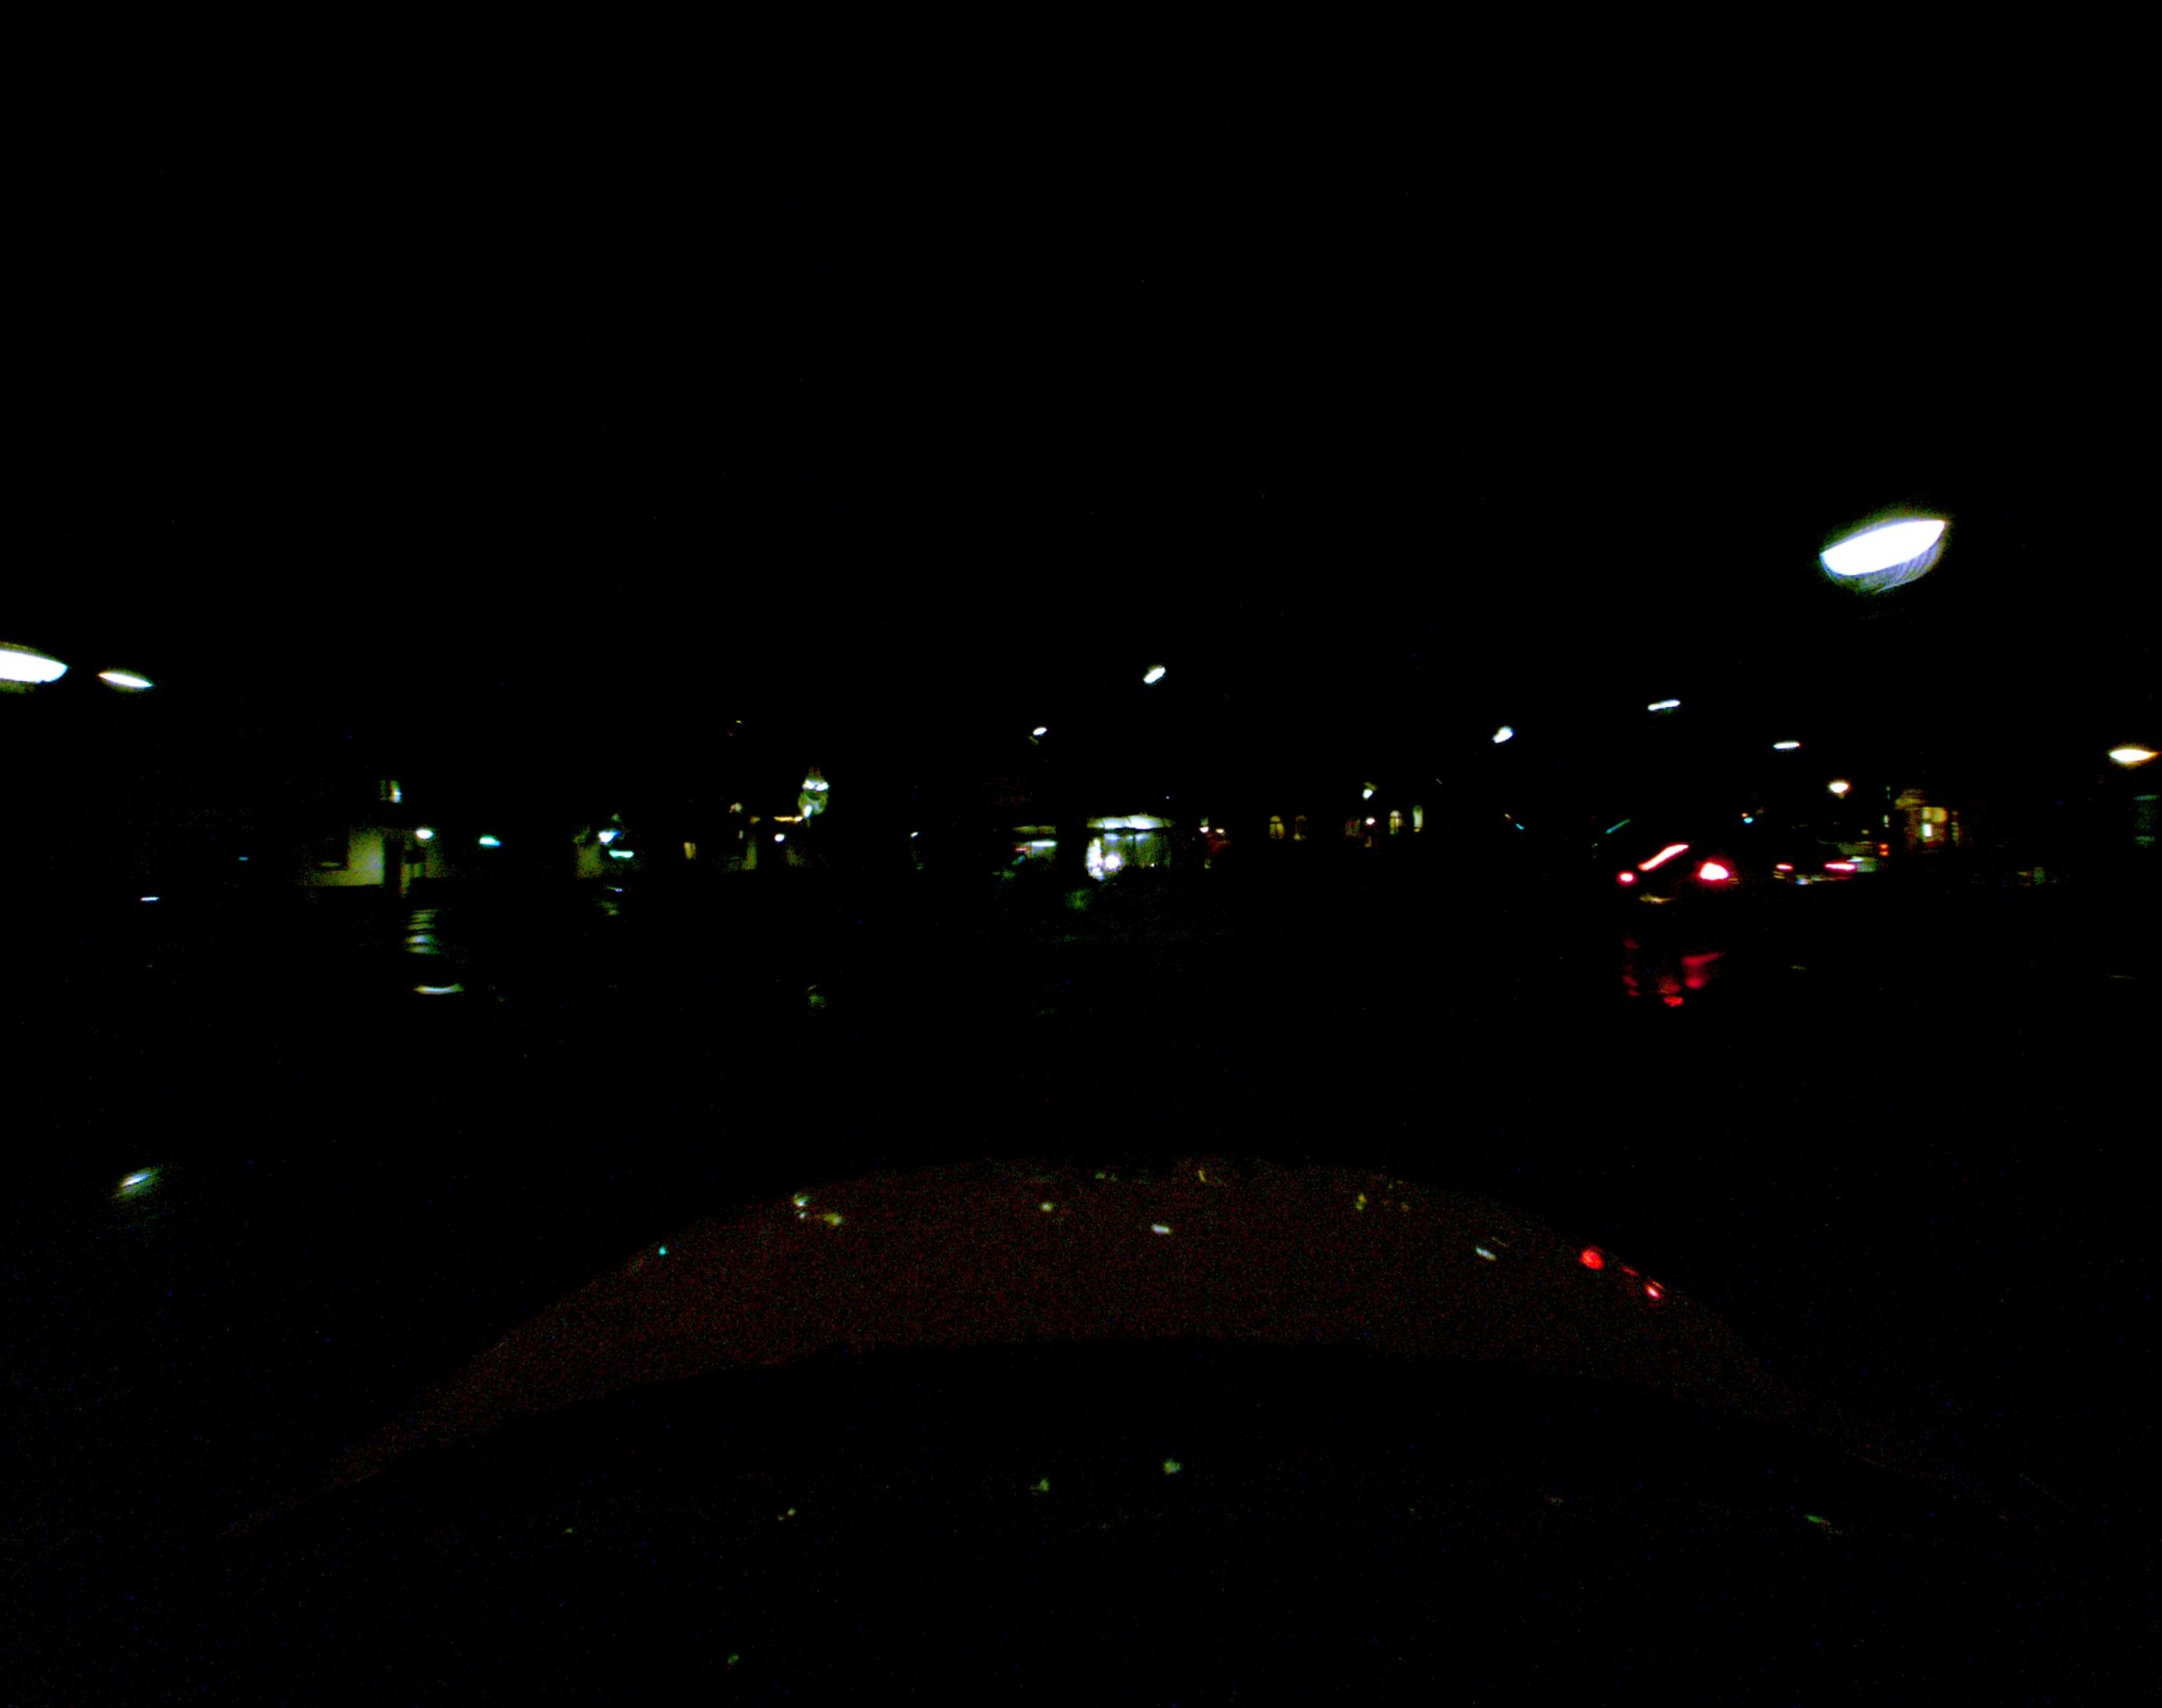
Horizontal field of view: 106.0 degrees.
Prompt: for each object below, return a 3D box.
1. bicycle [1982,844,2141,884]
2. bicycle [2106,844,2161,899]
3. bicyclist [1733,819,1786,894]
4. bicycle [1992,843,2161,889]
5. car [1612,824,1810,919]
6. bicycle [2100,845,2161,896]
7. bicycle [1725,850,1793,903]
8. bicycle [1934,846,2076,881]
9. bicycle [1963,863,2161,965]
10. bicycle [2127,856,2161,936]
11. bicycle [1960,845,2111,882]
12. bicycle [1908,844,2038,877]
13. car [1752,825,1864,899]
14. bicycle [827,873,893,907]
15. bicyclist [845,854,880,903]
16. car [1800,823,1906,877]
[{"bbox_3d":[26.896,0.277,22.415,2.742,1.026,0.729,-1,0,24],"label":"bicycle"},{"bbox_3d":[21.264,0.322,15.121,0.728,1.026,2.744,-1,0,-38],"label":"bicycle"},{"bbox_3d":[15.471,0.057,18.569,0.711,1.675,0.791,1,-1,-36],"label":"bicyclist"},{"bbox_3d":[25.900,0.303,21.267,0.728,1.129,2.744,-1,0,-38],"label":"bicycle"},{"bbox_3d":[11.919,0.323,15.397,3.470,1.613,1.721,1,-1,-28],"label":"car"},{"bbox_3d":[22.864,0.327,16.498,0.728,1.026,2.744,-1,0,-38],"label":"bicycle"},{"bbox_3d":[15.467,0.505,18.568,1.723,1.149,0.768,1,-1,-36],"label":"bicycle"},{"bbox_3d":[28.036,0.299,24.784,2.741,1.026,0.729,-1,0,29],"label":"bicycle"},{"bbox_3d":[11.219,0.643,9.194,0.452,1.059,1.646,-2,0,-33],"label":"bicycle"},{"bbox_3d":[14.848,0.548,10.484,0.452,1.059,1.646,-2,0,-33],"label":"bicycle"},{"bbox_3d":[27.567,0.289,23.601,2.741,1.026,0.729,-1,0,29],"label":"bicycle"},{"bbox_3d":[28.843,0.223,26.396,2.741,1.026,0.729,-1,0,29],"label":"bicycle"},{"bbox_3d":[18.870,0.210,21.074,1.975,1.728,4.023,0,-1,45],"label":"car"},{"bbox_3d":[-6.341,1.024,23.408,1.786,0.931,0.496,1,-1,-23],"label":"bicycle"},{"bbox_3d":[-6.291,0.690,23.440,0.895,1.380,0.501,1,-1,-23],"label":"bicyclist"},{"bbox_3d":[26.810,-0.105,28.427,1.974,1.728,4.025,0,-1,33],"label":"car"}]
